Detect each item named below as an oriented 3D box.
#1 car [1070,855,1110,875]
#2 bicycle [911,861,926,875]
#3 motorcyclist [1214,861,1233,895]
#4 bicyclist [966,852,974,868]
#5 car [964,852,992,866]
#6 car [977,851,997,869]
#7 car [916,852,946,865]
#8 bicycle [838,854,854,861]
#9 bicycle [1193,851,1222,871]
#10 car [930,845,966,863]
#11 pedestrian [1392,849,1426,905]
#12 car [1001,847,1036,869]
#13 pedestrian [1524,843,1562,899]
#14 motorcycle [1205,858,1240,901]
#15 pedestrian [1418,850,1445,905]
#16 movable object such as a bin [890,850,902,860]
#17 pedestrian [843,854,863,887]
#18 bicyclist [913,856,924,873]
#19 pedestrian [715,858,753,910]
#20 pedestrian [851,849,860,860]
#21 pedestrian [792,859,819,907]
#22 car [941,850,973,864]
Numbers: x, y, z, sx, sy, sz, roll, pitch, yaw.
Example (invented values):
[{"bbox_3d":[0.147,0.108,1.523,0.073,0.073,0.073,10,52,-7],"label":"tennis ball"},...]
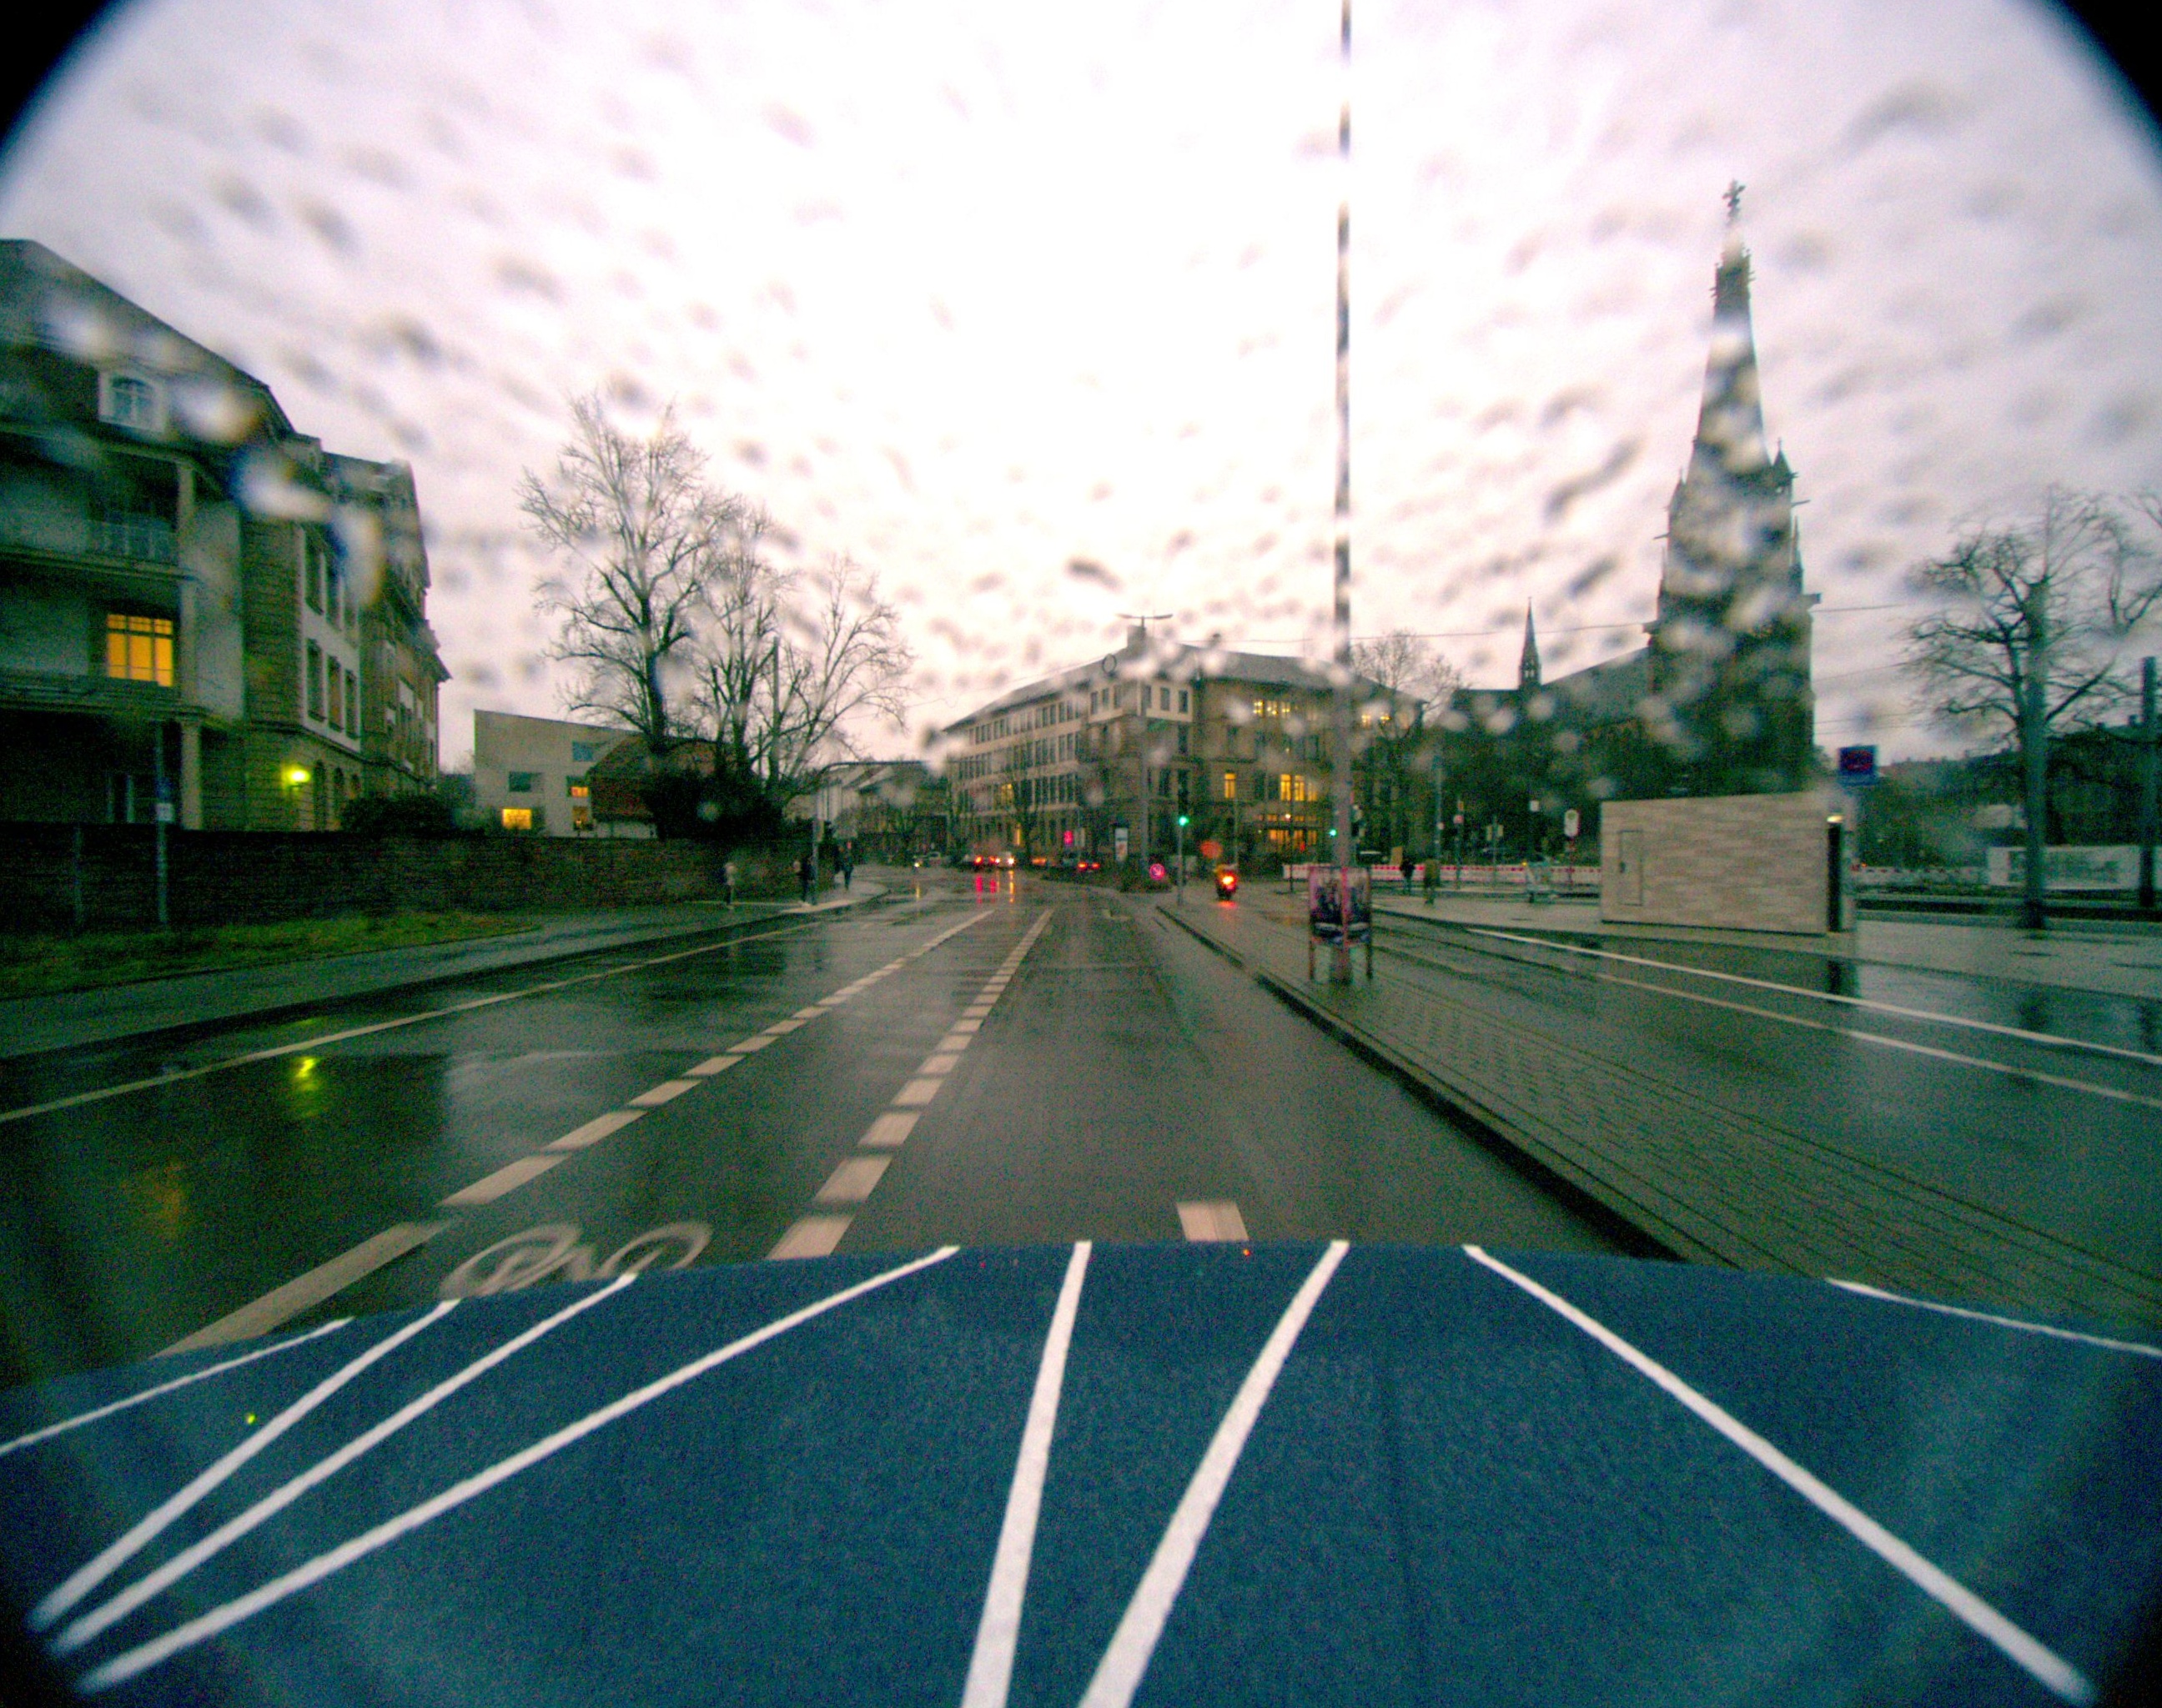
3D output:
[{"bbox_3d":[0.638,0.797,57.442,1.754,1.370,4.359,1,0,-17],"label":"car"},{"bbox_3d":[-12.751,1.105,59.596,0.725,1.084,2.281,-2,0,-23],"label":"bicycle"},{"bbox_3d":[5.253,0.888,28.000,0.537,1.187,0.610,-2,3,-3],"label":"motorcyclist"},{"bbox_3d":[-11.790,0.640,80.914,0.611,1.758,0.589,-1,3,10],"label":"bicyclist"},{"bbox_3d":[-12.359,0.546,91.609,1.633,1.449,3.831,-1,2,23],"label":"car"},{"bbox_3d":[-8.795,0.521,71.289,1.759,1.652,4.527,1,0,-5],"label":"car"},{"bbox_3d":[-20.249,0.578,102.828,1.771,1.582,4.191,-1,2,27],"label":"car"},{"bbox_3d":[-35.020,0.455,113.326,2.125,0.939,0.942,-3,3,-30],"label":"bicycle"},{"bbox_3d":[11.089,0.638,66.519,2.424,1.679,0.714,-1,3,17],"label":"bicycle"},{"bbox_3d":[-17.069,-0.020,97.807,1.961,2.042,4.629,0,2,29],"label":"car"},{"bbox_3d":[14.479,0.998,33.568,0.996,2.357,1.063,-2,3,-4],"label":"pedestrian"},{"bbox_3d":[-6.700,0.413,81.818,1.908,2.022,4.809,-1,2,19],"label":"car"},{"bbox_3d":[15.448,0.553,25.427,0.605,1.803,0.824,-4,1,-13],"label":"pedestrian"},{"bbox_3d":[5.185,0.907,28.052,0.831,1.488,2.314,0,1,-1],"label":"motorcycle"},{"bbox_3d":[11.050,0.726,23.979,0.673,1.665,0.731,0,3,32],"label":"pedestrian"},{"bbox_3d":[-27.337,0.101,112.022,1.341,1.456,0.987,-1,3,19],"label":"movable object such as a bin"},{"bbox_3d":[-11.767,0.865,39.275,0.807,1.675,1.155,1,0,-9],"label":"pedestrian"},{"bbox_3d":[-12.730,0.808,59.541,0.718,1.335,0.718,-3,3,-23],"label":"bicyclist"},{"bbox_3d":[-11.317,0.961,24.801,0.964,1.666,0.777,0,1,-38],"label":"pedestrian"},{"bbox_3d":[-36.067,0.120,121.704,0.945,1.694,0.925,0,3,33],"label":"pedestrian"},{"bbox_3d":[-9.797,1.016,27.048,0.792,1.666,0.729,1,1,-12],"label":"pedestrian"},{"bbox_3d":[-15.470,0.391,95.142,1.819,1.531,3.983,0,2,29],"label":"car"}]
